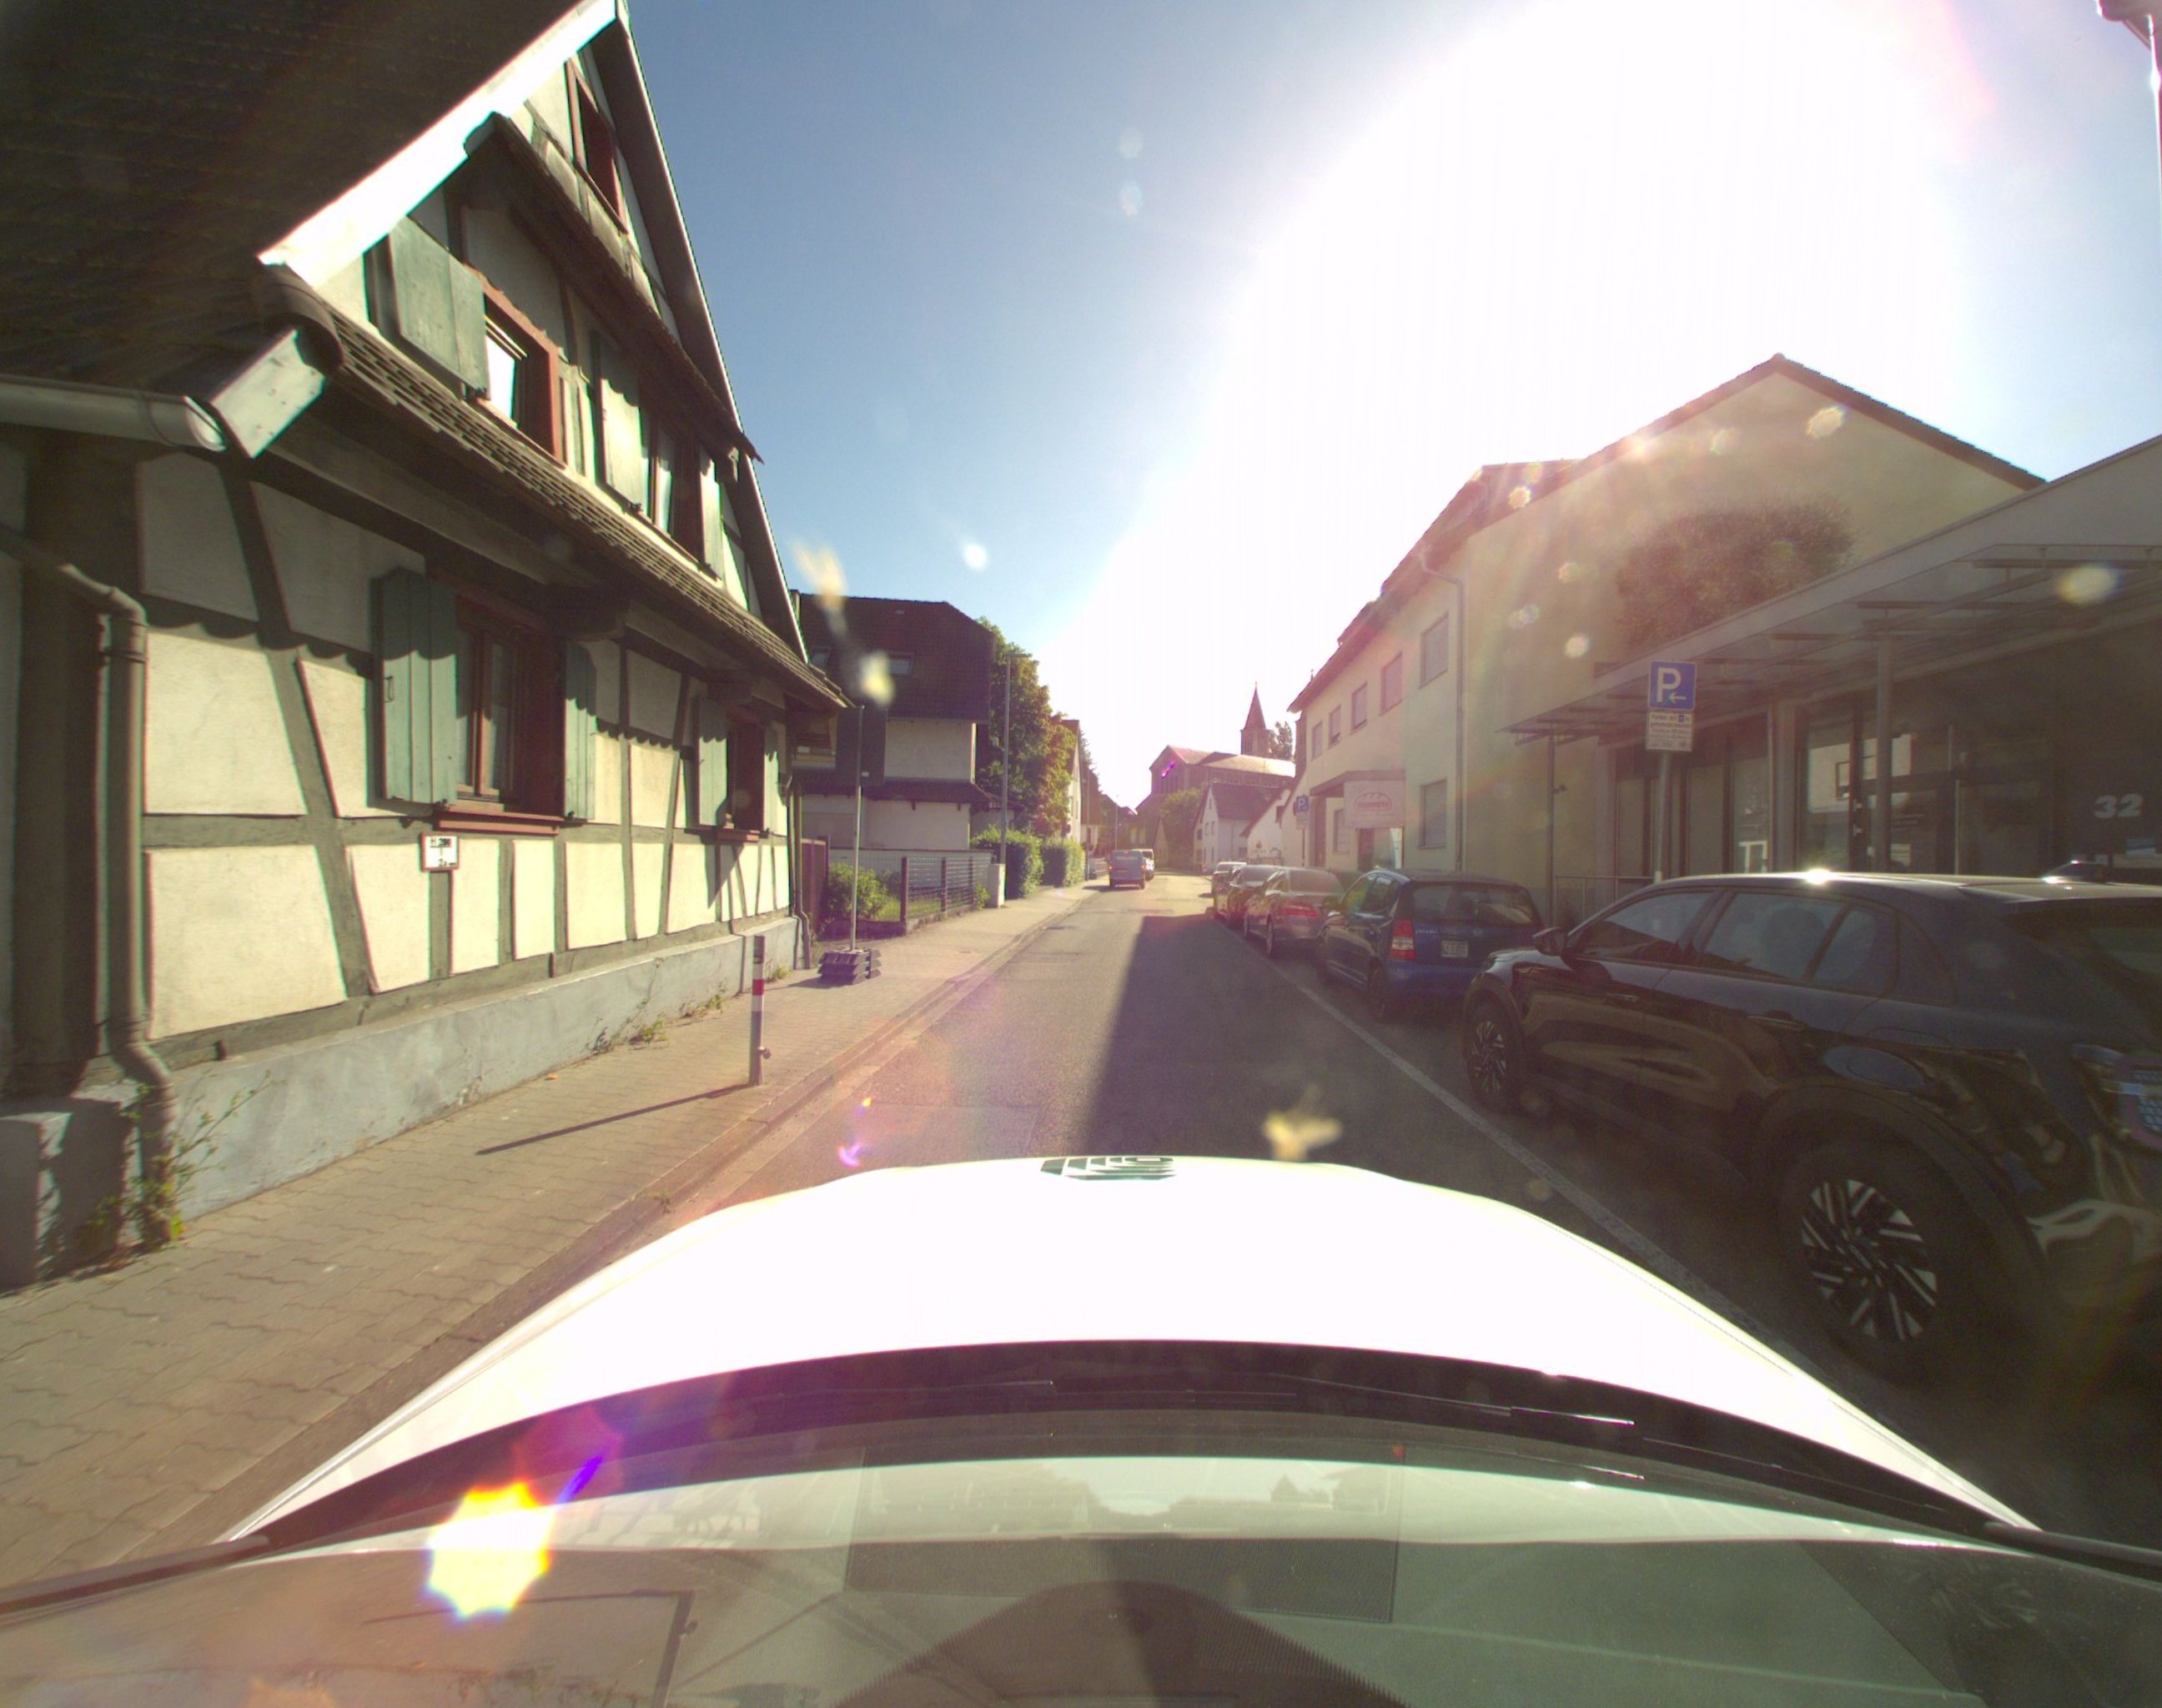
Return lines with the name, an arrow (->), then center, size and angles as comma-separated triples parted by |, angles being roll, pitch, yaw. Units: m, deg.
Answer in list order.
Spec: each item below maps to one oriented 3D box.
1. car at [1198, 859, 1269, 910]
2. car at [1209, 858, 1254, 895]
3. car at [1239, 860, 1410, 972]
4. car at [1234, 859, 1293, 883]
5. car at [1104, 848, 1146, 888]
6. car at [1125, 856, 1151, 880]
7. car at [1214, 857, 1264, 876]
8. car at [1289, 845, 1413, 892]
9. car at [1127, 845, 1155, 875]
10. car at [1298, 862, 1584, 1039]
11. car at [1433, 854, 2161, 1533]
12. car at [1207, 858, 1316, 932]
car -> 4.958, 0.930, 27.054 | 1.800, 1.475, 4.851 | 3, 0, 5
car -> 6.645, 0.953, 36.056 | 1.800, 1.475, 4.672 | 2, 0, 10
car -> 3.864, 0.895, 13.735 | 1.800, 1.475, 4.449 | 3, 0, 4
car -> 13.923, 1.278, 62.114 | 4.053, 1.688, 1.897 | 0, 0, -23
car -> 2.314, 0.685, 41.761 | 1.893, 1.917, 5.078 | 0, 0, 6
car -> 3.989, 0.921, 56.447 | 1.706, 1.598, 3.931 | 0, 0, 6
car -> 12.720, 0.974, 65.477 | 3.884, 1.492, 1.854 | 0, -1, 14
car -> 11.677, 0.632, 35.458 | 4.749, 1.886, 1.907 | -1, 0, -2
car -> 5.089, 0.496, 68.519 | 2.186, 2.390, 6.074 | -1, 0, 6
car -> 3.732, 0.881, 9.226 | 1.718, 1.475, 3.879 | 3, 0, 4
car -> 3.247, 0.800, 3.798 | 1.603, 1.521, 3.974 | 3, 0, 3
car -> 4.183, 0.908, 19.613 | 1.800, 1.475, 4.848 | 3, -1, 4
